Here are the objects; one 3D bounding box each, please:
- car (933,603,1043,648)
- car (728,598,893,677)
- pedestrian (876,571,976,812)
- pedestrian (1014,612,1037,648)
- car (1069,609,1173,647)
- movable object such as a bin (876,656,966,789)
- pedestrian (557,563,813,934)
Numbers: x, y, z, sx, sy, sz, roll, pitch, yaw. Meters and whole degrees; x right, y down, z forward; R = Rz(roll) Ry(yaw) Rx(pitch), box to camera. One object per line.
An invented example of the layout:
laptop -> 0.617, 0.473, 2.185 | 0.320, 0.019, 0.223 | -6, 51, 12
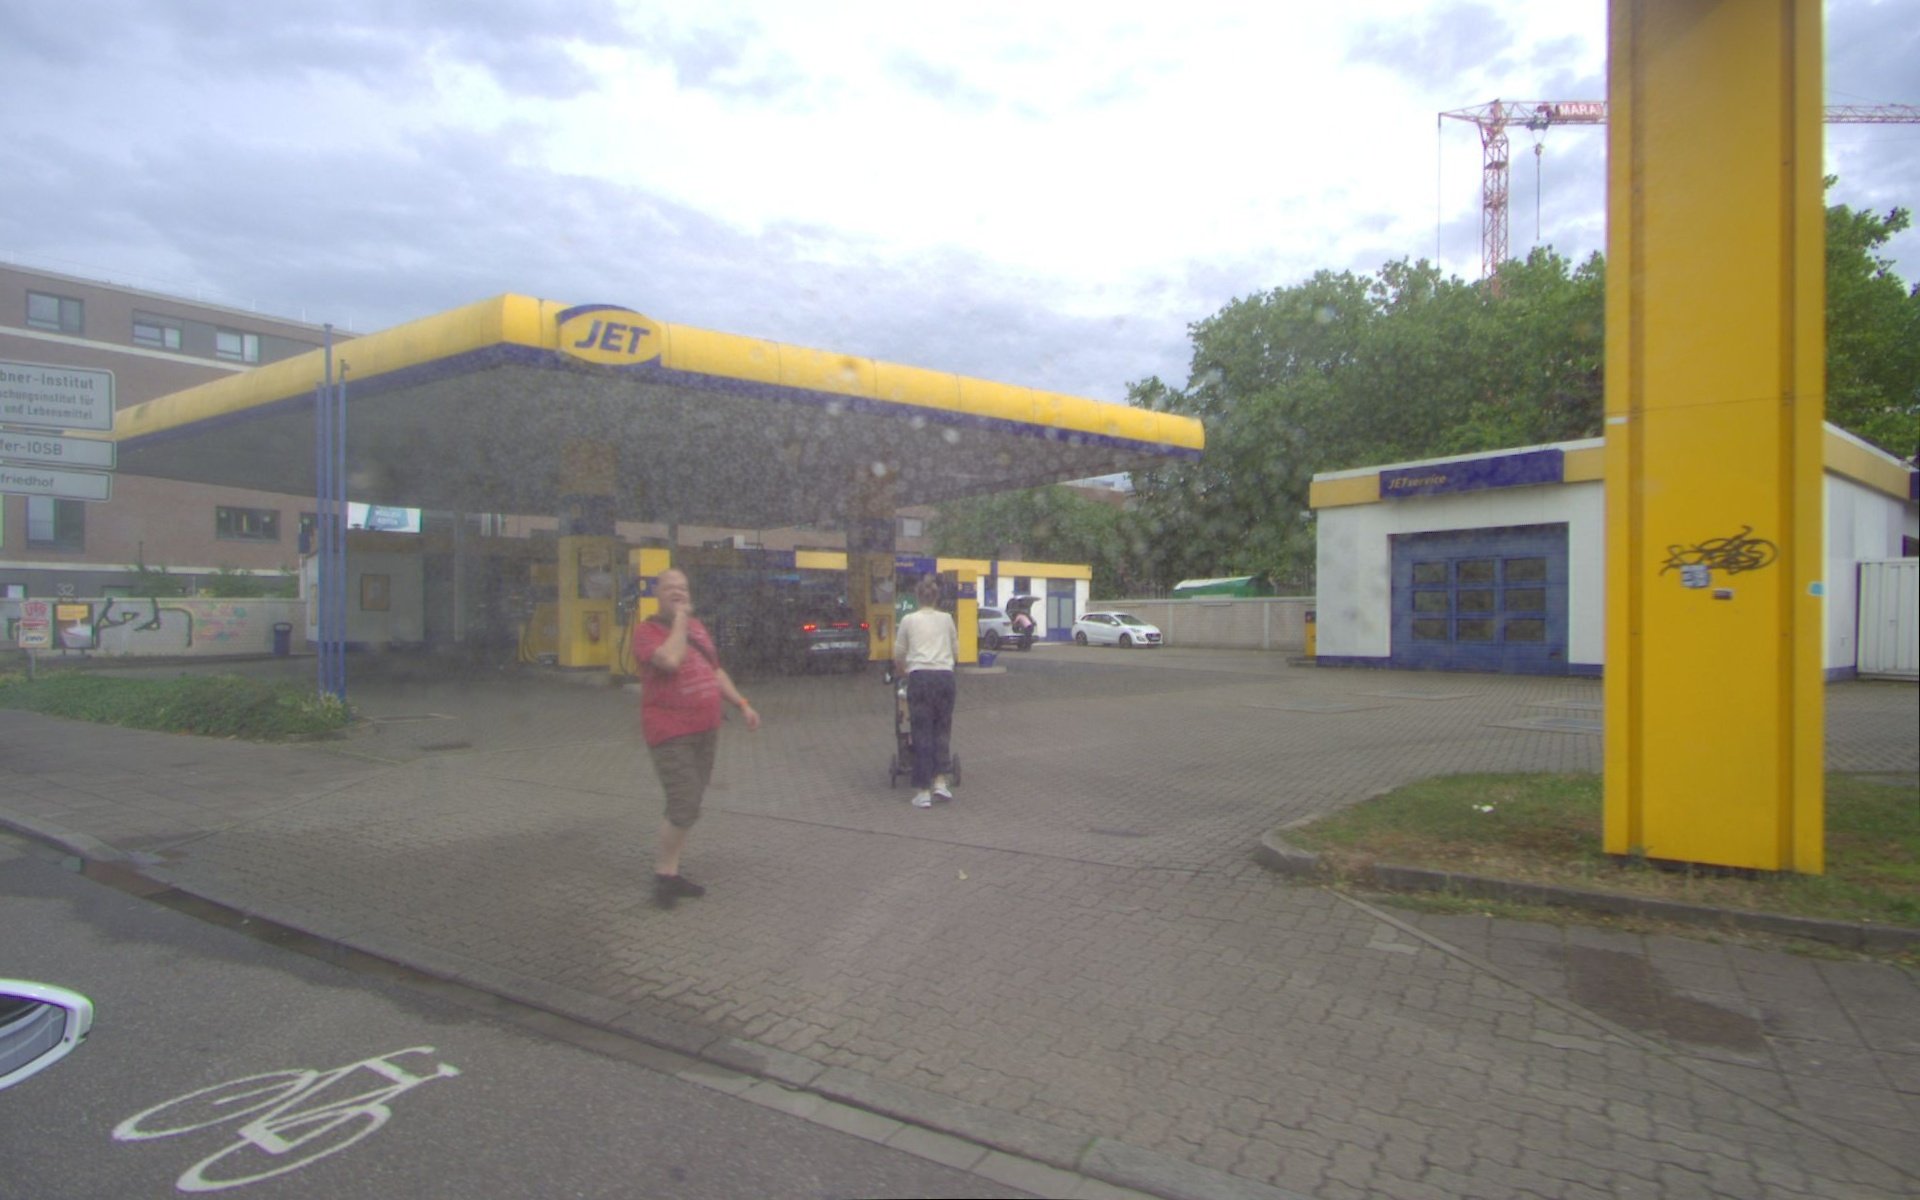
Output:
car -> 1.043, 1.044, 39.247 | 1.821, 1.658, 4.440 | 2, -3, -41
car -> -3.372, 0.729, 21.908 | 1.970, 1.517, 4.298 | -1, 1, -33
pedestrian -> -0.305, 0.683, 8.157 | 0.755, 1.821, 1.161 | 0, 2, -5
pedestrian -> 2.455, 1.129, 37.515 | 0.573, 1.364, 0.607 | 2, -2, -37
car -> 6.824, 1.224, 42.821 | 1.915, 1.546, 4.302 | 2, -3, -37
movable object such as a bin -> -0.371, 1.063, 8.998 | 0.755, 1.053, 1.023 | 0, 1, -5
pedestrian -> -1.449, 0.706, 5.374 | 0.849, 1.762, 0.970 | -1, 1, 31
